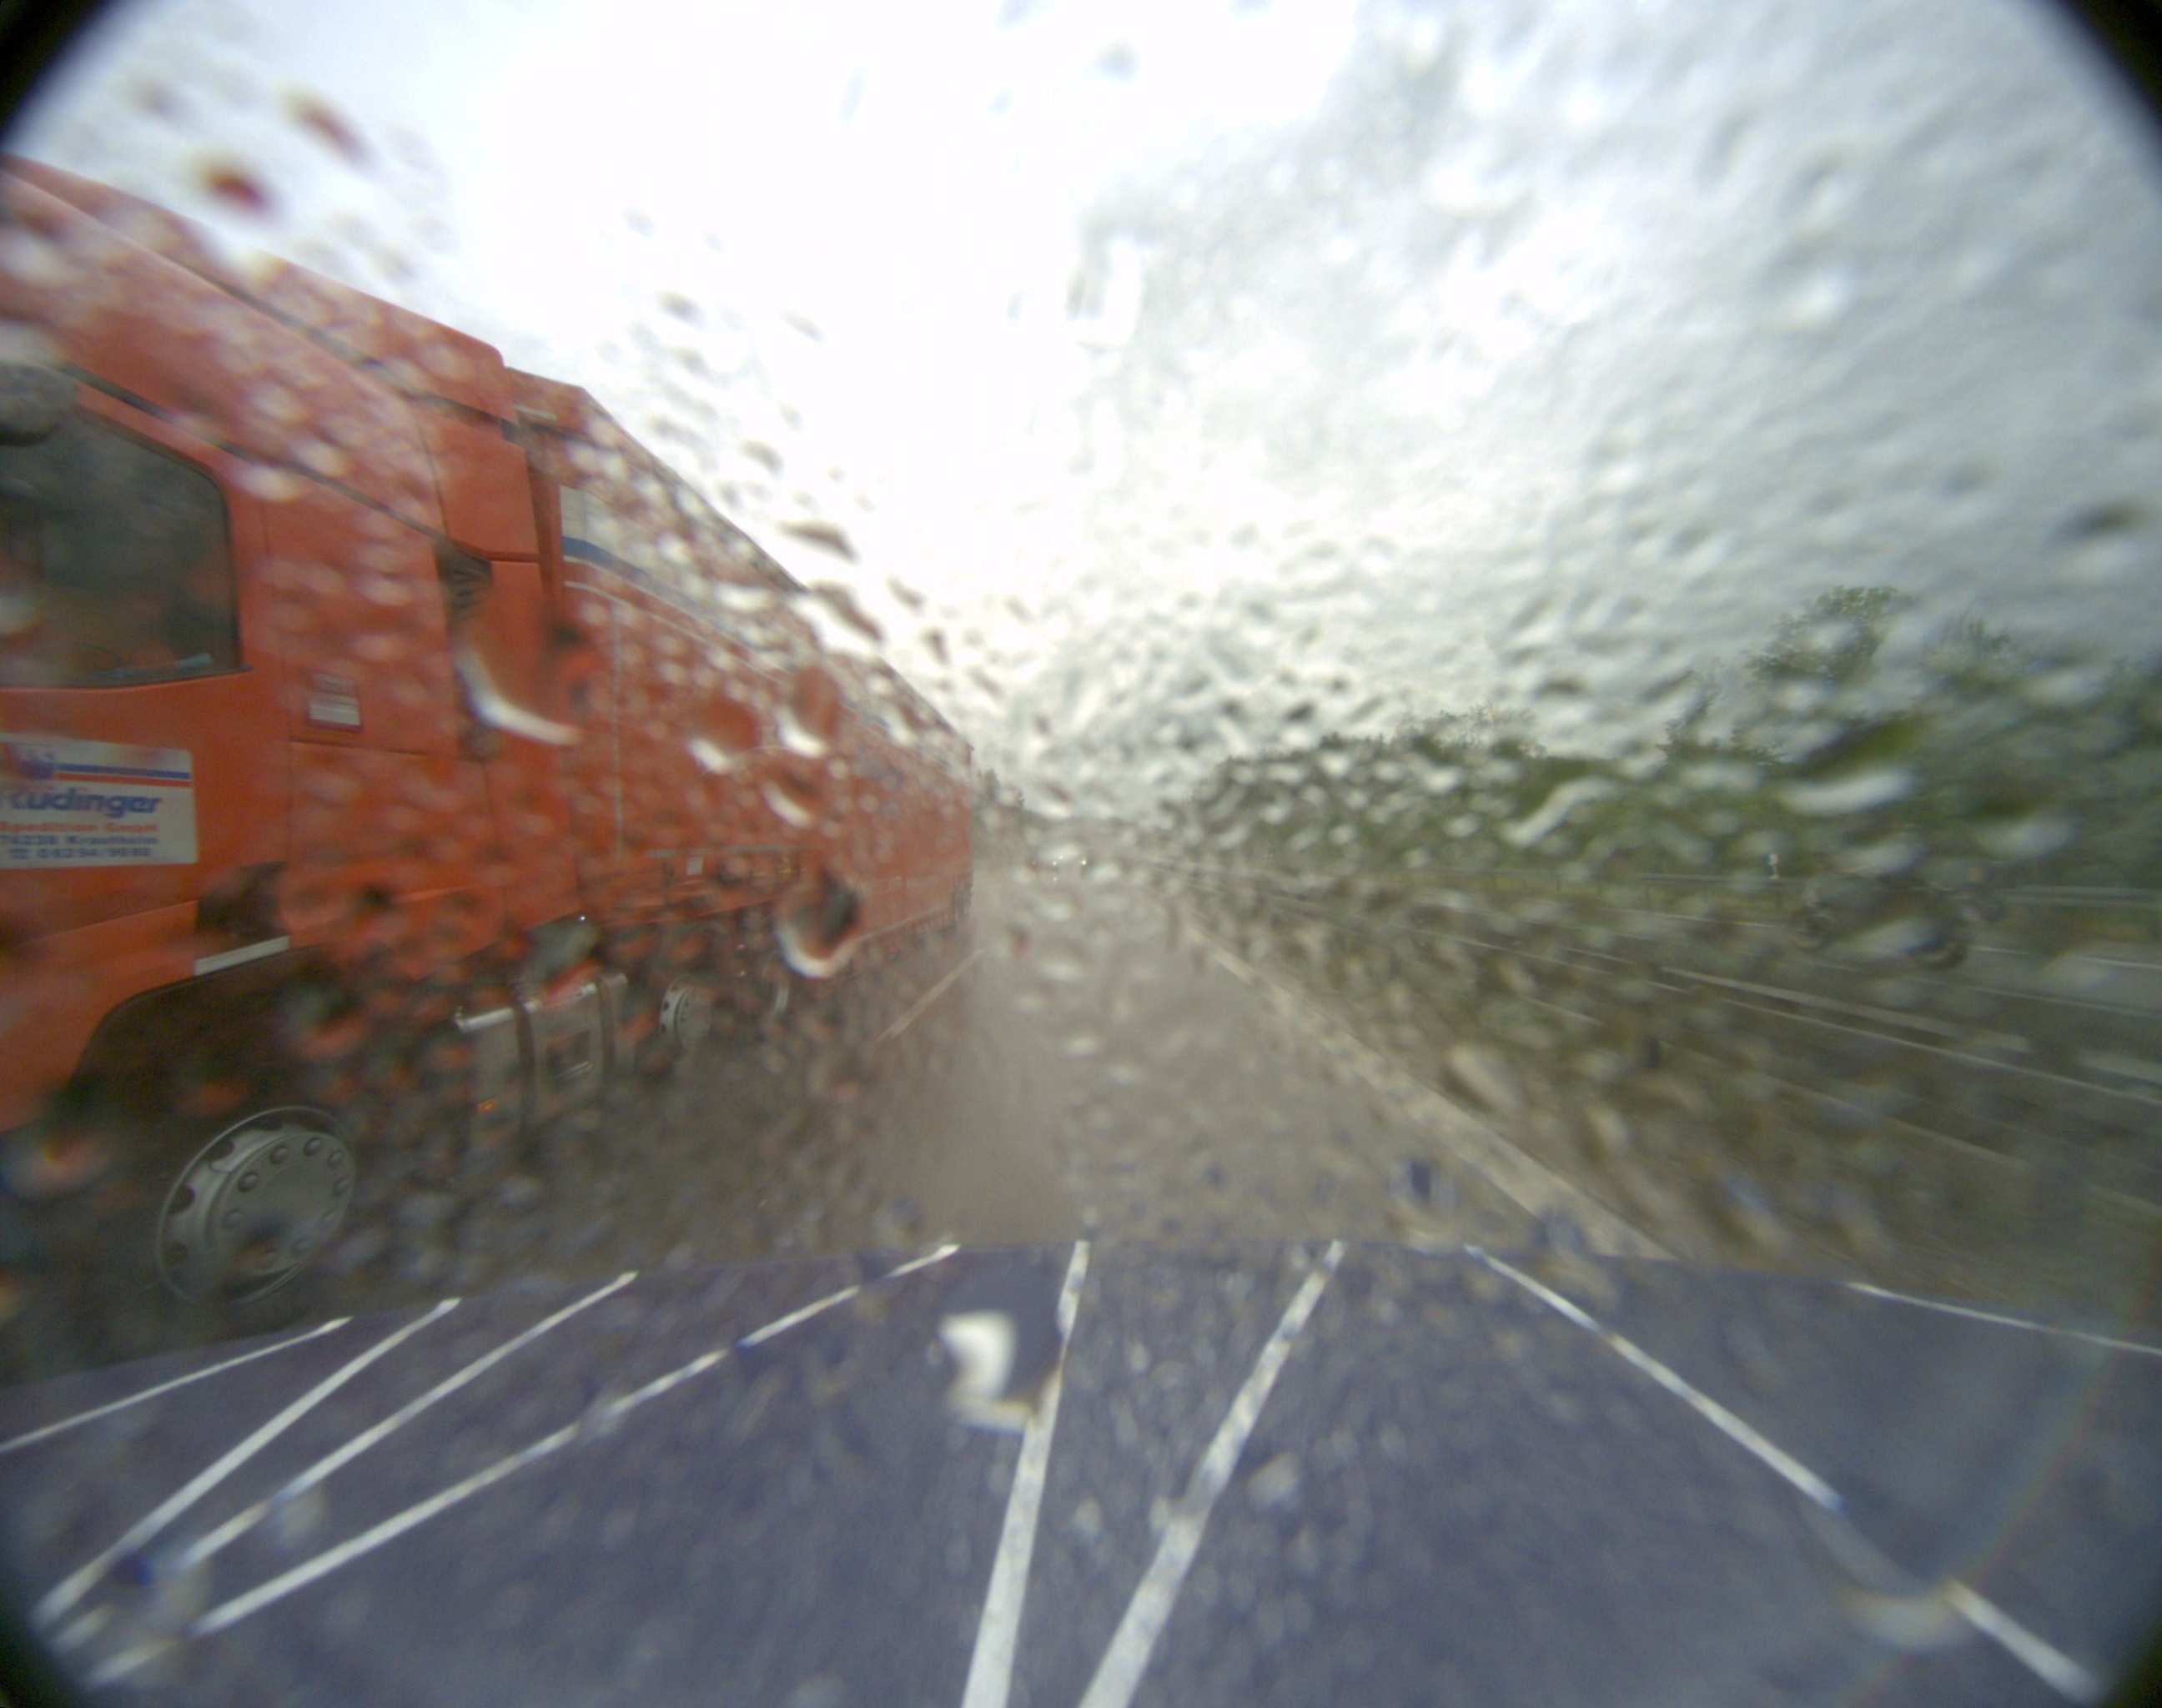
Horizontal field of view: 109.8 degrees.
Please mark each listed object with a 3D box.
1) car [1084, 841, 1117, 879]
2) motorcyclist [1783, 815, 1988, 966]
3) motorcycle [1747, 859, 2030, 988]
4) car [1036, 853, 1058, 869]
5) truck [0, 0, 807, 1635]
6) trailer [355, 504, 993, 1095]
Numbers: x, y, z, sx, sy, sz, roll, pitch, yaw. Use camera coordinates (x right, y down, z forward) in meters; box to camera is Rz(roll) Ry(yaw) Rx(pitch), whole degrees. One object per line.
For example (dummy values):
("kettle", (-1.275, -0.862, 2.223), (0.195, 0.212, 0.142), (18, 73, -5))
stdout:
("car", (1.107, 0.306, 43.960), (1.795, 2.114, 4.524), (0, 1, 1))
("motorcyclist", (10.107, 0.424, 9.639), (1.070, 1.746, 1.444), (-2, 1, 1))
("motorcycle", (10.121, 0.789, 9.733), (1.075, 1.381, 2.413), (-2, 1, 1))
("car", (-2.658, 0.507, 60.509), (1.496, 1.189, 3.668), (0, 1, 1))
("truck", (-3.693, -0.363, 3.583), (2.766, 4.064, 5.436), (0, 1, 1))
("trailer", (-3.603, -0.434, 11.842), (2.801, 4.133, 13.004), (0, 1, 1))
